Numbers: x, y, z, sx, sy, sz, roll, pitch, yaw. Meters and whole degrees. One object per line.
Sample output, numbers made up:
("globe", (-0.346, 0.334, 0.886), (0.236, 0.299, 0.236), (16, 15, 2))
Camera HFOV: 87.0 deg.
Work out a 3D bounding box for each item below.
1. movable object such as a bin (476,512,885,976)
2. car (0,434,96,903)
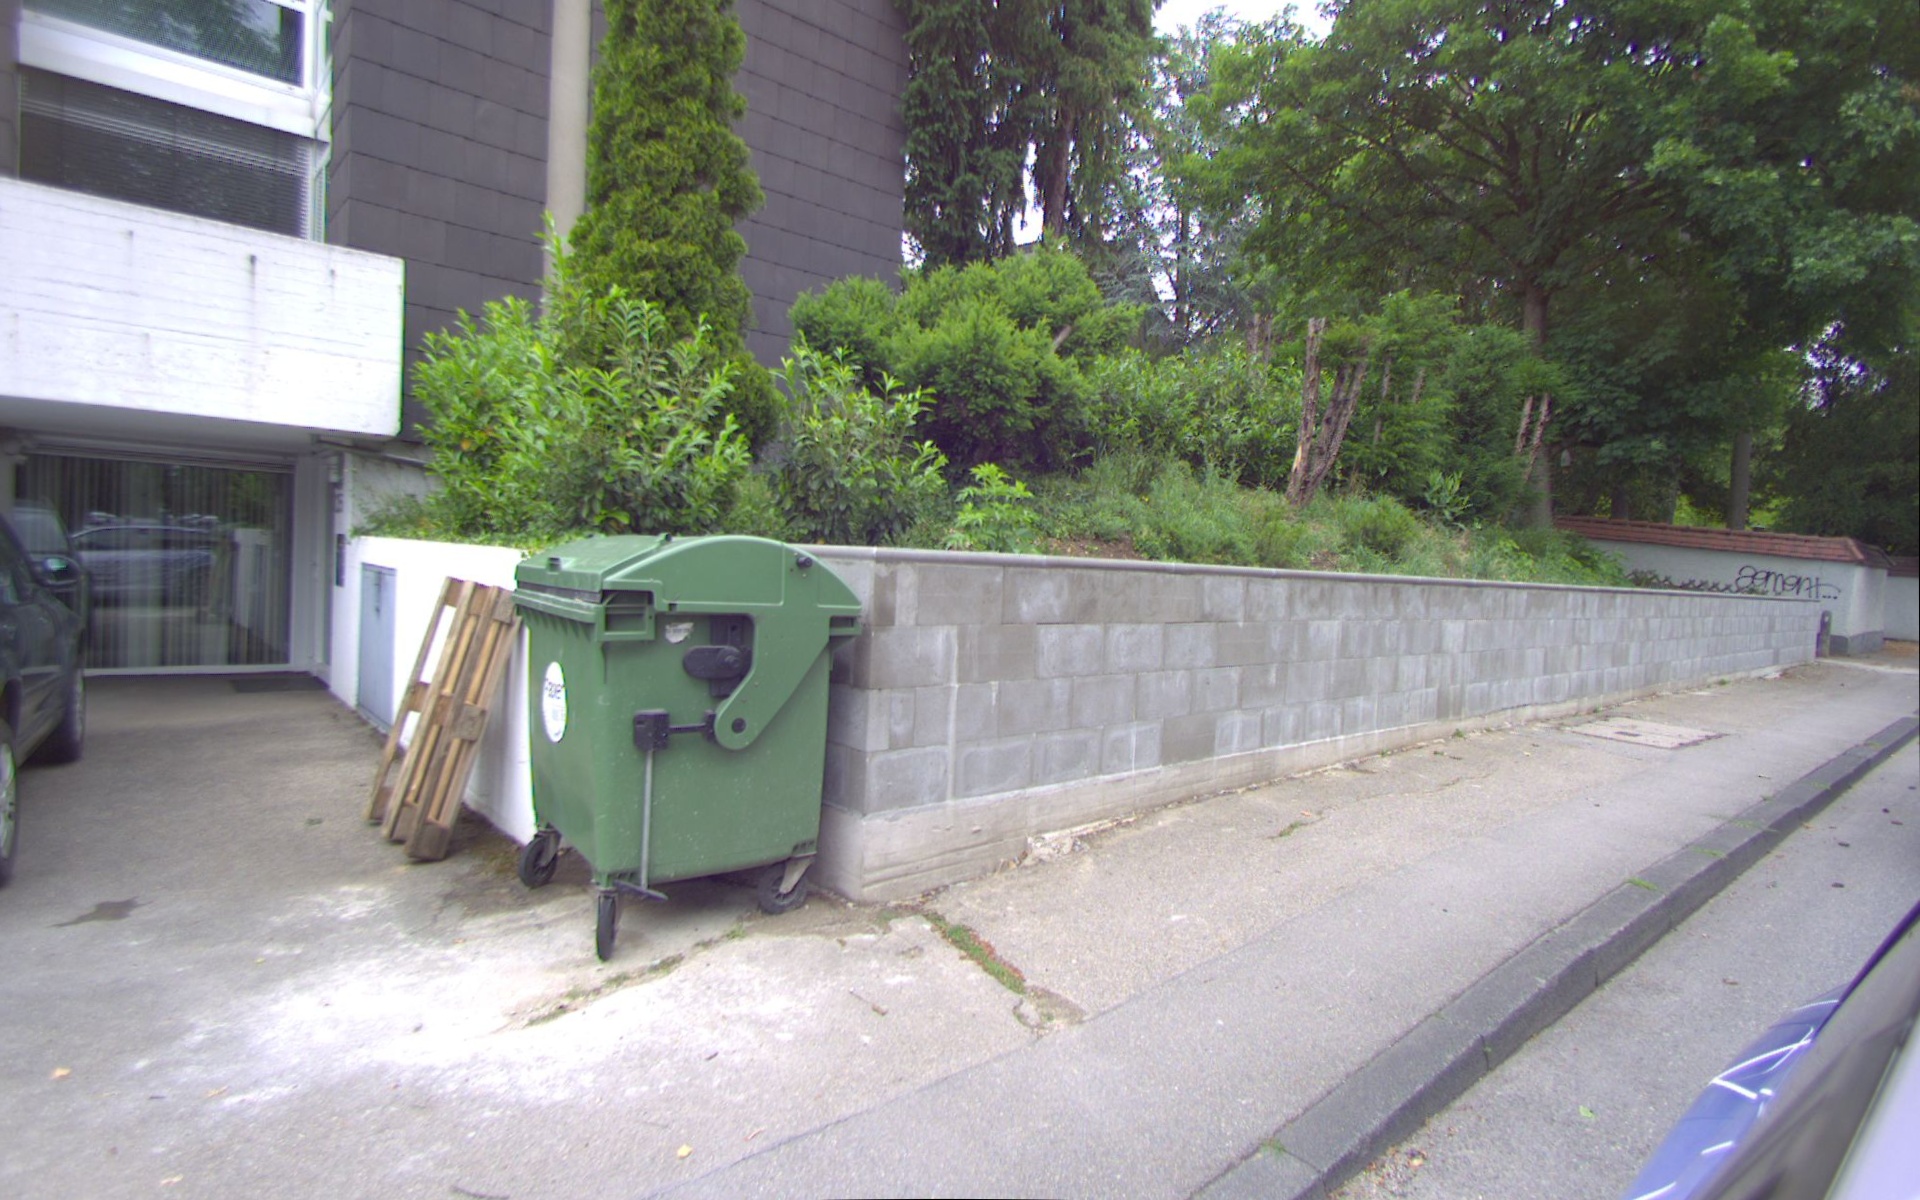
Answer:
("movable object such as a bin", (-1.168, 0.416, 4.081), (1.096, 1.469, 1.407), (0, 3, -40))
("car", (-5.033, 0.149, 4.354), (1.712, 1.671, 3.914), (0, 4, -36))
